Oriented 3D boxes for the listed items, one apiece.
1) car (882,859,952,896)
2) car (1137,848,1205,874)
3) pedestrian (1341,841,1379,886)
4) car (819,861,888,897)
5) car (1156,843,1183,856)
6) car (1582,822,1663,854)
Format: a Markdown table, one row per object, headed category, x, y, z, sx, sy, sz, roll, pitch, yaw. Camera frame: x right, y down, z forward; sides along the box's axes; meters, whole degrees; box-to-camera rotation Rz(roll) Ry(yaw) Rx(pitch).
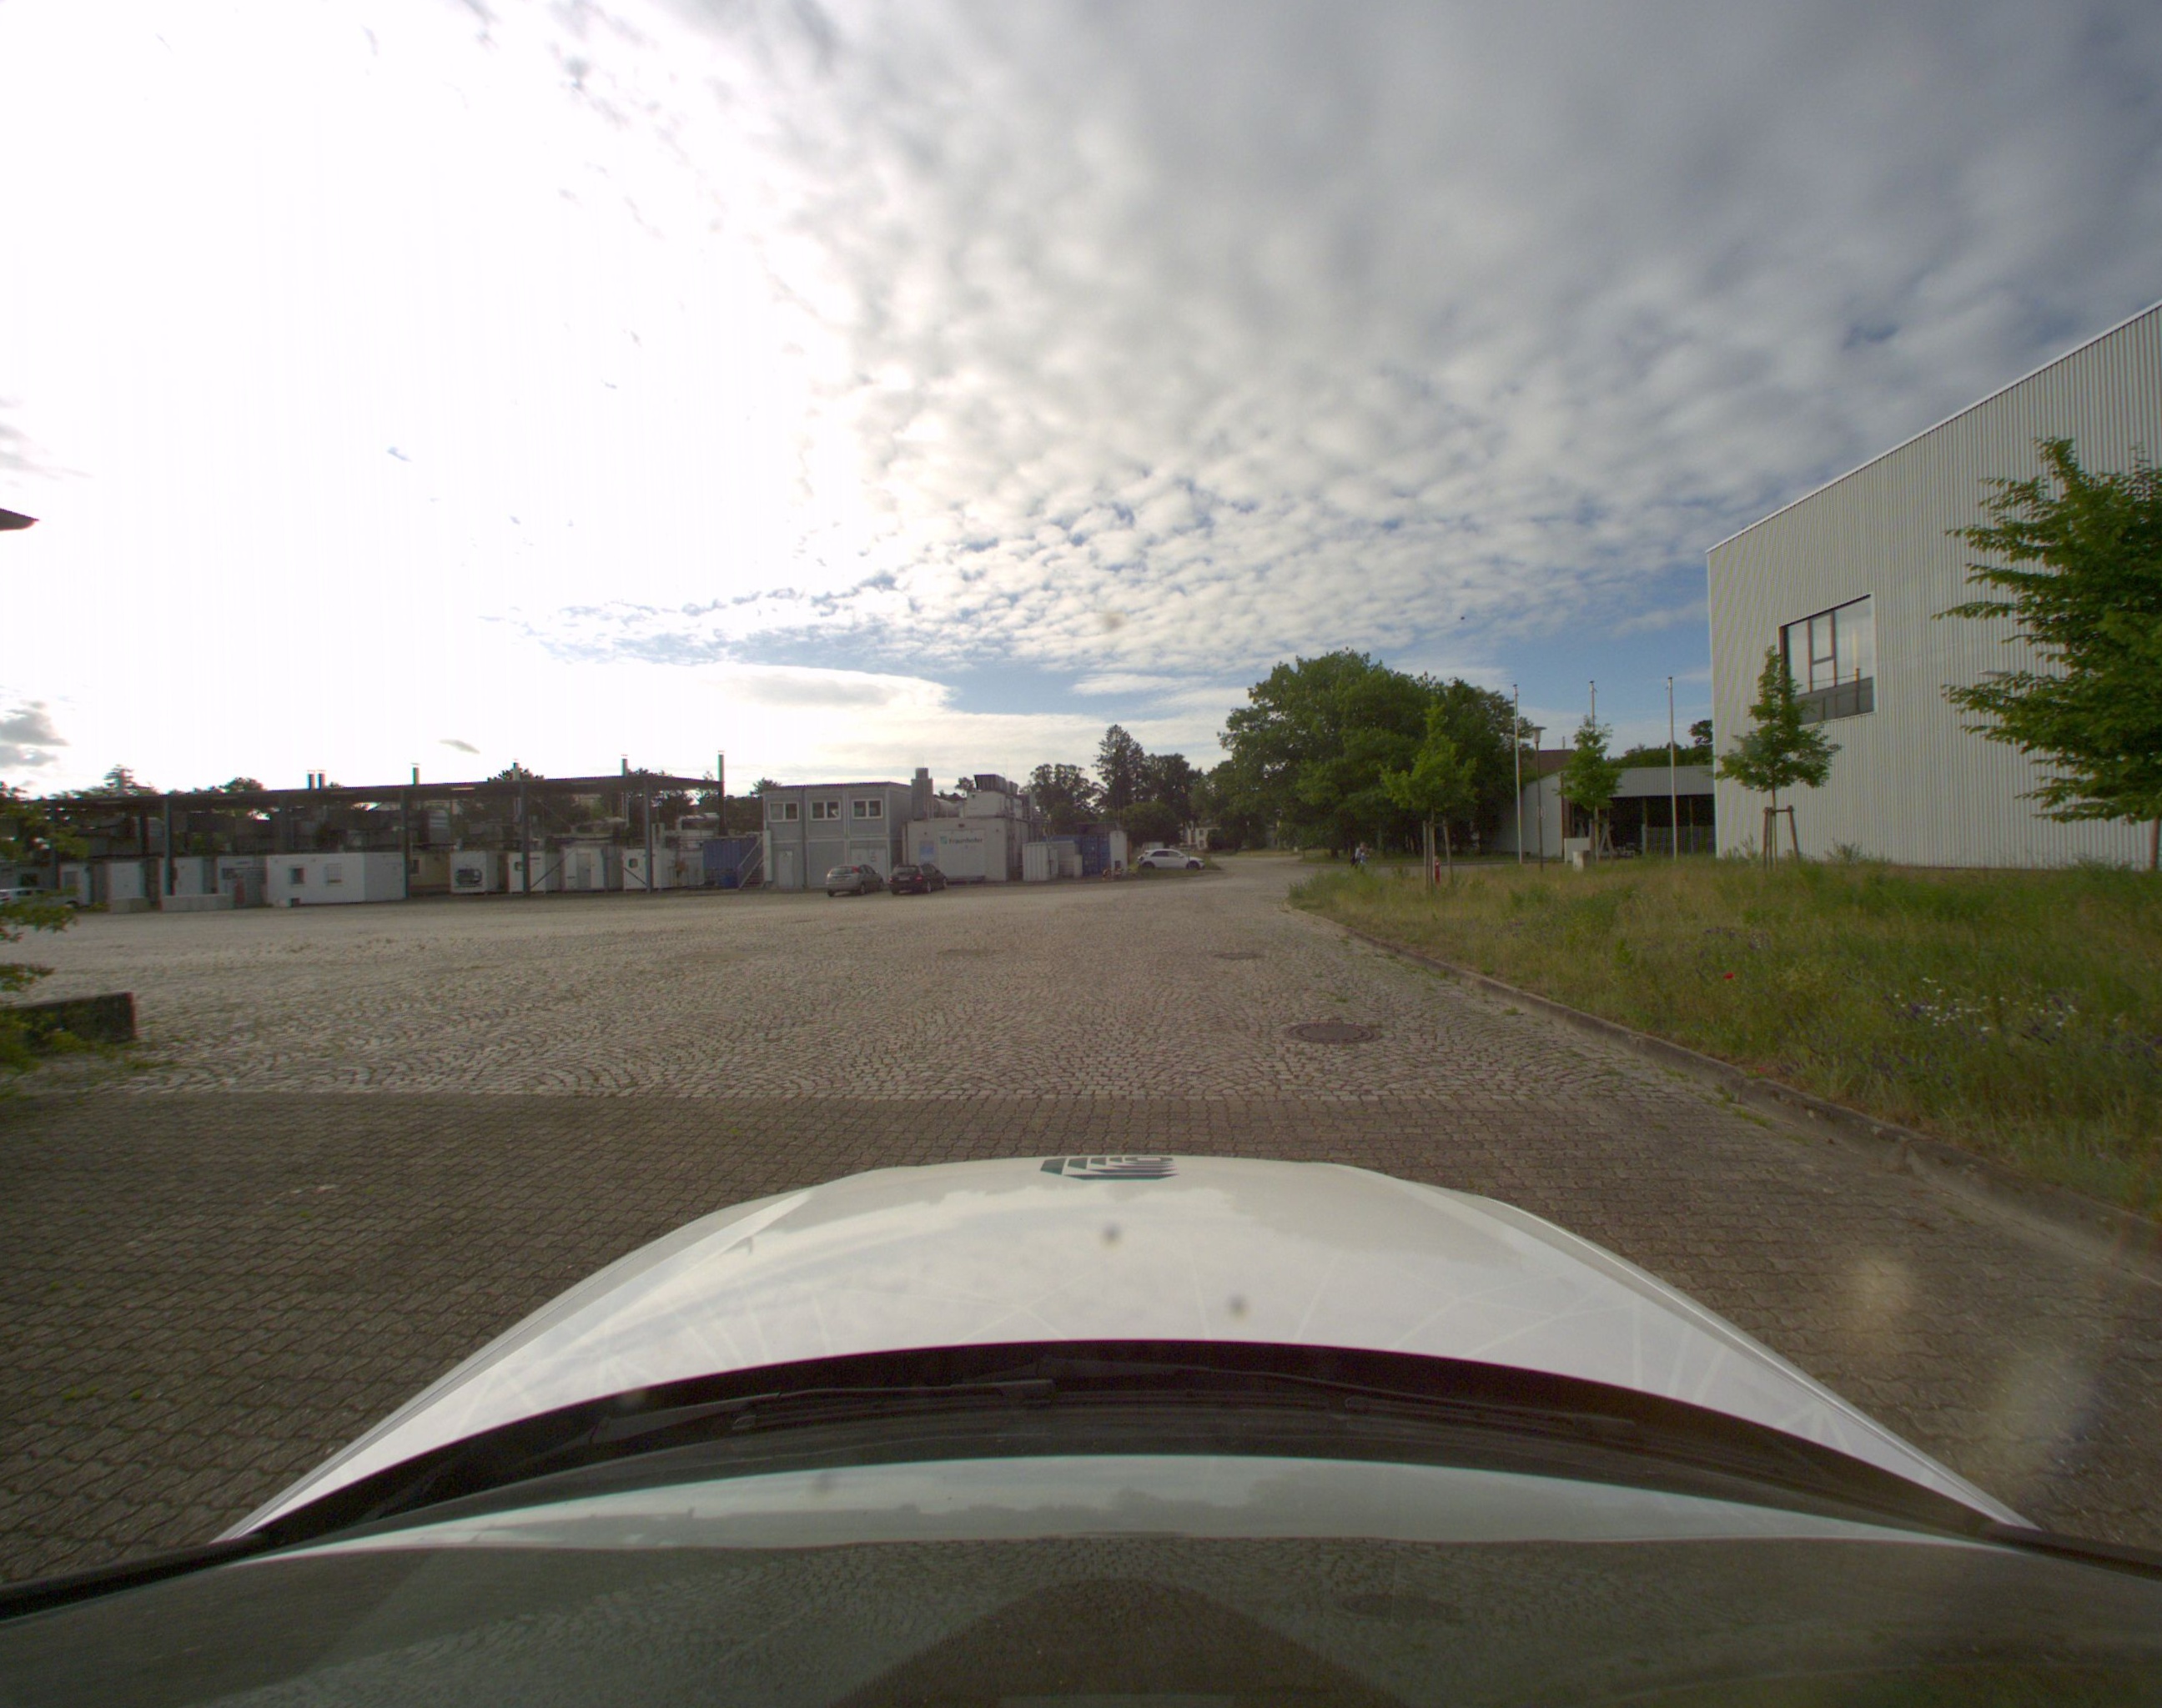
| category | x | y | z | sx | sy | sz | roll | pitch | yaw |
| --- | --- | --- | --- | --- | --- | --- | --- | --- | --- |
| car | -7.833 | 1.071 | 39.373 | 2.026 | 1.453 | 4.538 | -2 | 2 | 6 |
| car | 6.139 | 0.471 | 55.286 | 4.508 | 1.599 | 2.005 | -2 | 0 | 8 |
| pedestrian | 10.065 | 0.339 | 29.360 | 1.065 | 1.556 | 1.082 | -2 | 0 | 30 |
| car | -11.061 | 1.191 | 39.885 | 1.898 | 1.475 | 4.052 | -2 | 1 | 4 |
| car | 16.989 | -0.879 | 156.474 | 5.145 | 2.337 | 2.003 | -2 | 0 | 5 |
| car | 36.584 | -1.047 | 55.187 | 2.231 | 2.013 | 5.344 | -2 | 0 | 5 |
